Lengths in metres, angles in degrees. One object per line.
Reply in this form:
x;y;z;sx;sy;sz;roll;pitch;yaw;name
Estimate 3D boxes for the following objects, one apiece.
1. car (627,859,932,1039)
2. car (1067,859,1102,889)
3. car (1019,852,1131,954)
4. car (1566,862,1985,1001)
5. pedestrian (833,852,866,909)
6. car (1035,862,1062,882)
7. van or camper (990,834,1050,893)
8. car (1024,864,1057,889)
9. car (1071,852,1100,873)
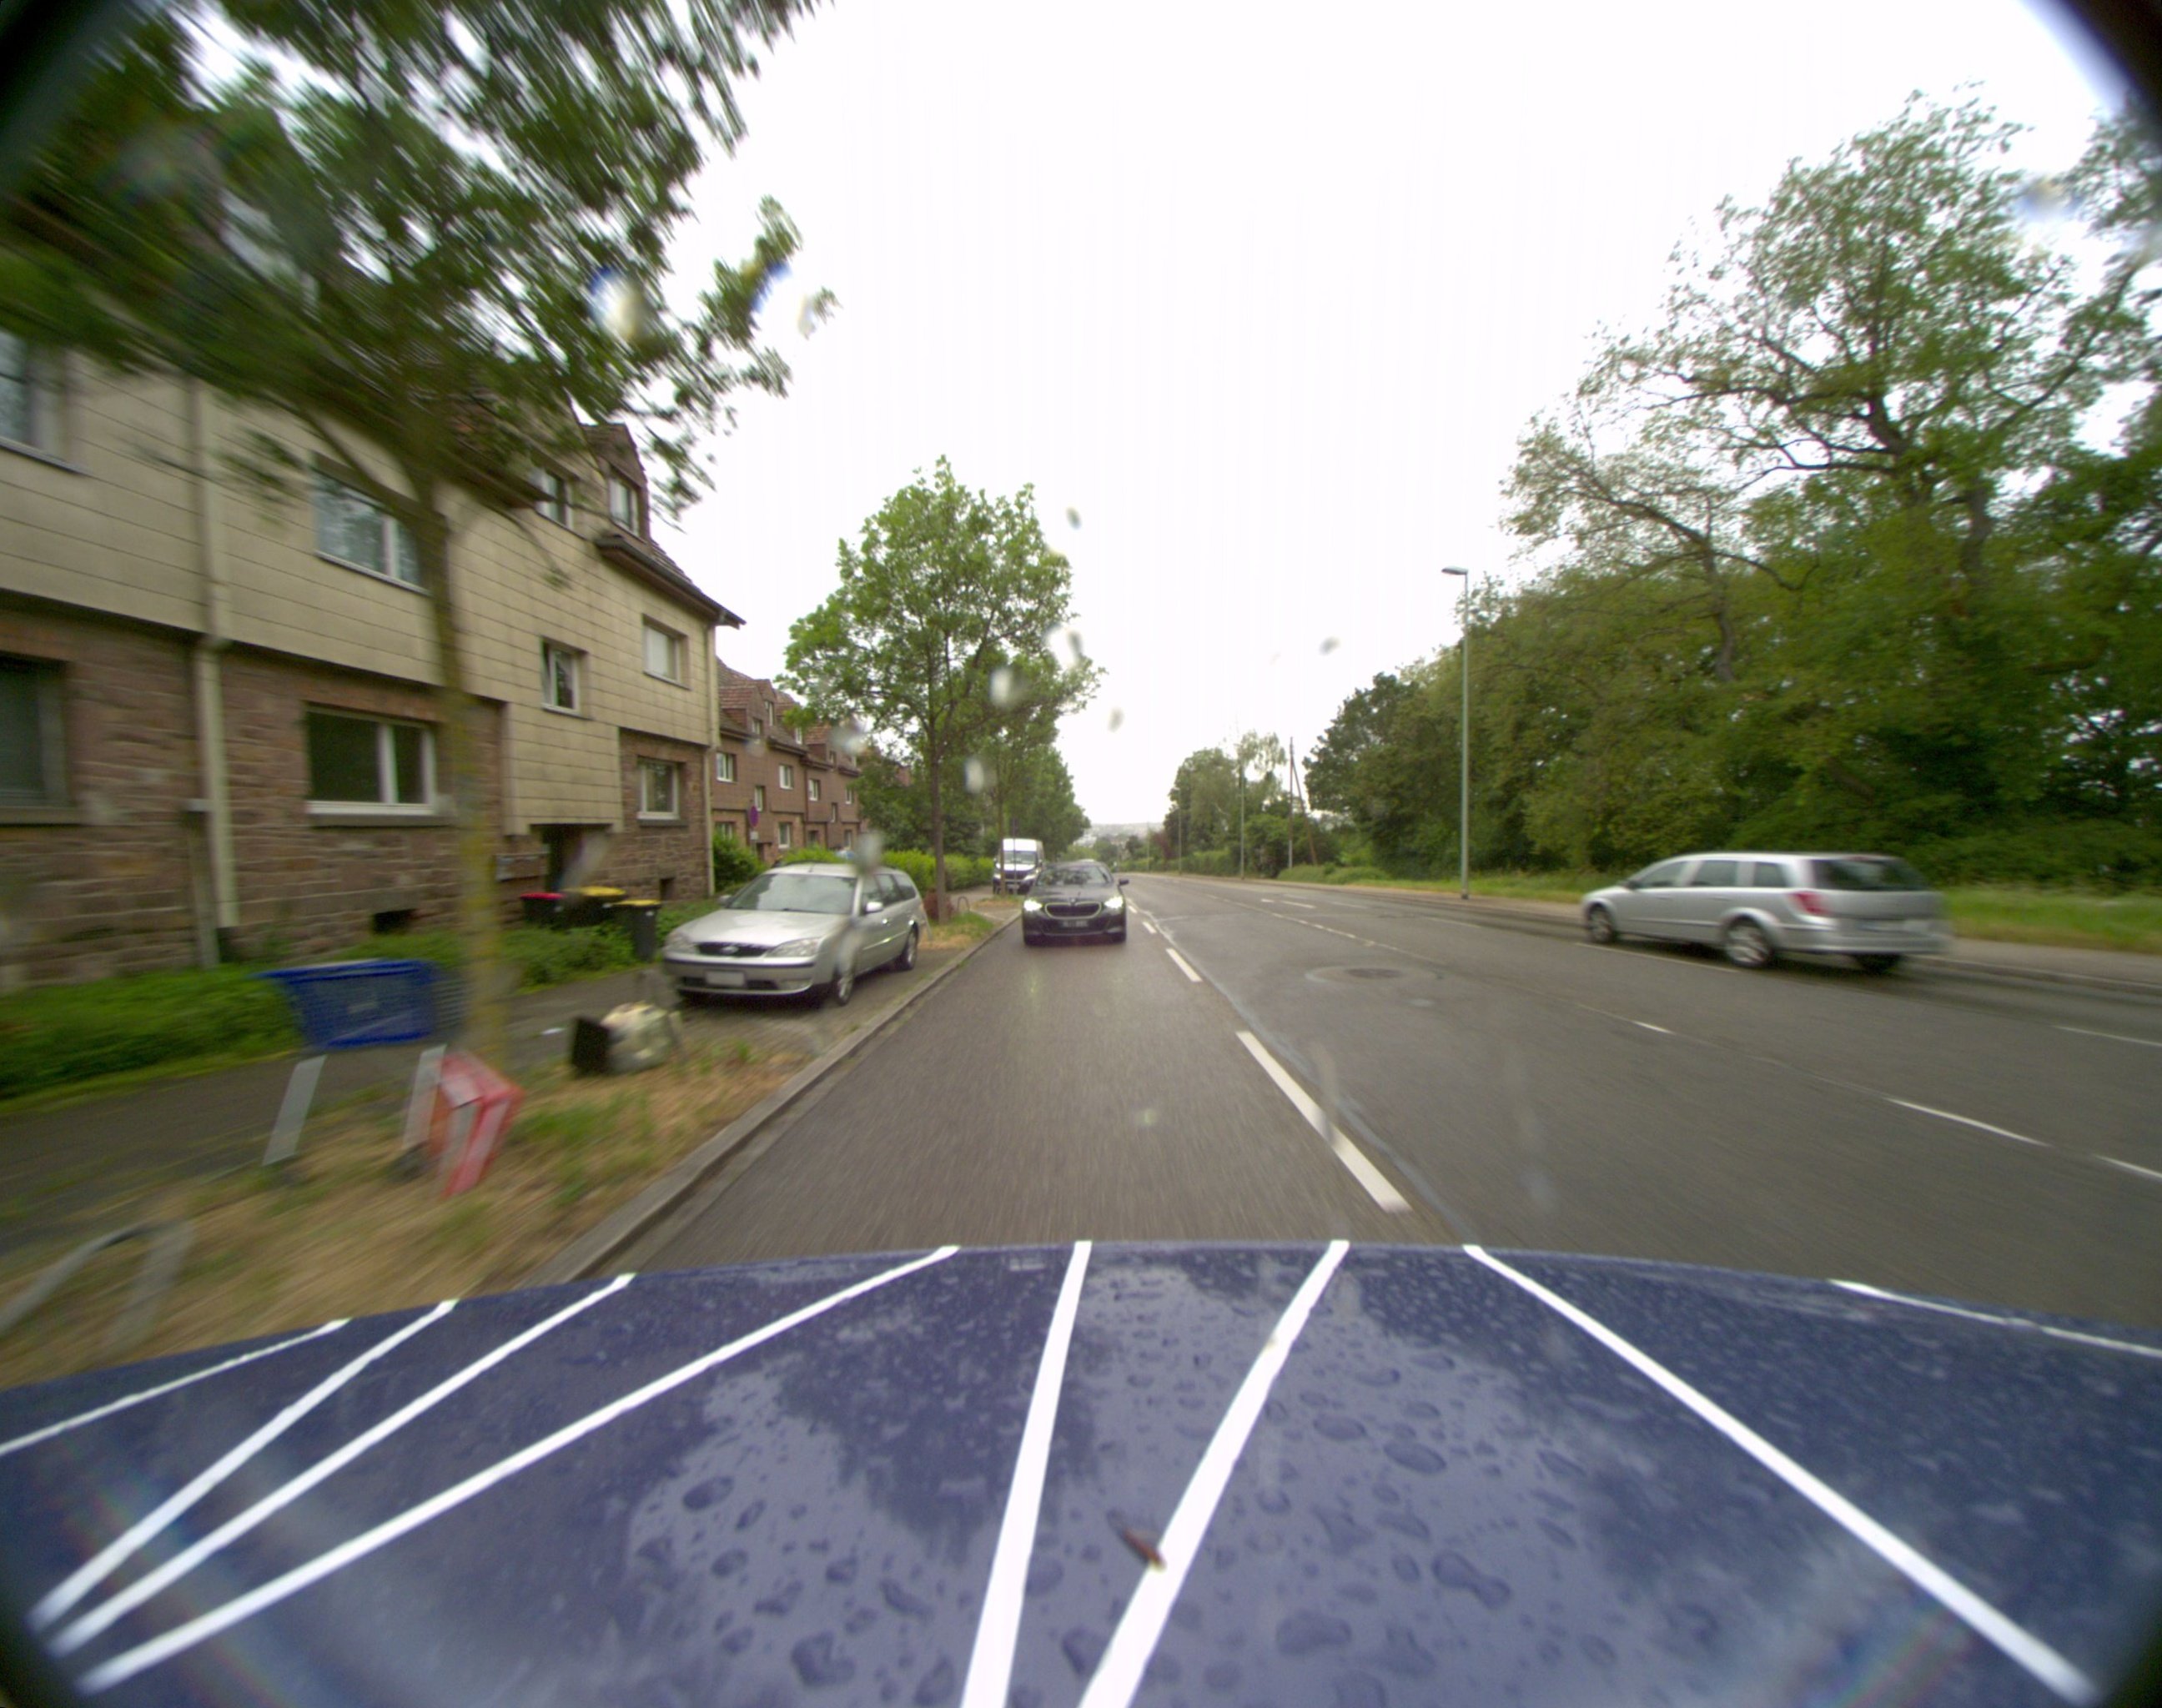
-3.222;0.911;9.297;1.706;1.575;4.644;3;-1;2;car
0.188;1.173;45.383;1.999;1.674;4.174;-1;-1;-1;car
-0.111;0.876;15.149;1.829;1.667;4.296;-3;-1;0;car
9.035;0.875;10.552;1.694;1.474;4.451;1;0;-1;car
-6.878;0.787;22.589;0.709;1.670;0.654;0;0;6;pedestrian
-2.745;1.535;64.496;1.828;1.593;4.475;1;-1;3;car
-2.852;0.482;37.534;2.203;2.635;7.303;1;-1;1;van or camper
-2.562;1.405;49.062;1.672;1.519;3.833;2;0;3;car
0.324;0.739;63.423;1.999;1.674;4.173;-1;-1;-5;car
